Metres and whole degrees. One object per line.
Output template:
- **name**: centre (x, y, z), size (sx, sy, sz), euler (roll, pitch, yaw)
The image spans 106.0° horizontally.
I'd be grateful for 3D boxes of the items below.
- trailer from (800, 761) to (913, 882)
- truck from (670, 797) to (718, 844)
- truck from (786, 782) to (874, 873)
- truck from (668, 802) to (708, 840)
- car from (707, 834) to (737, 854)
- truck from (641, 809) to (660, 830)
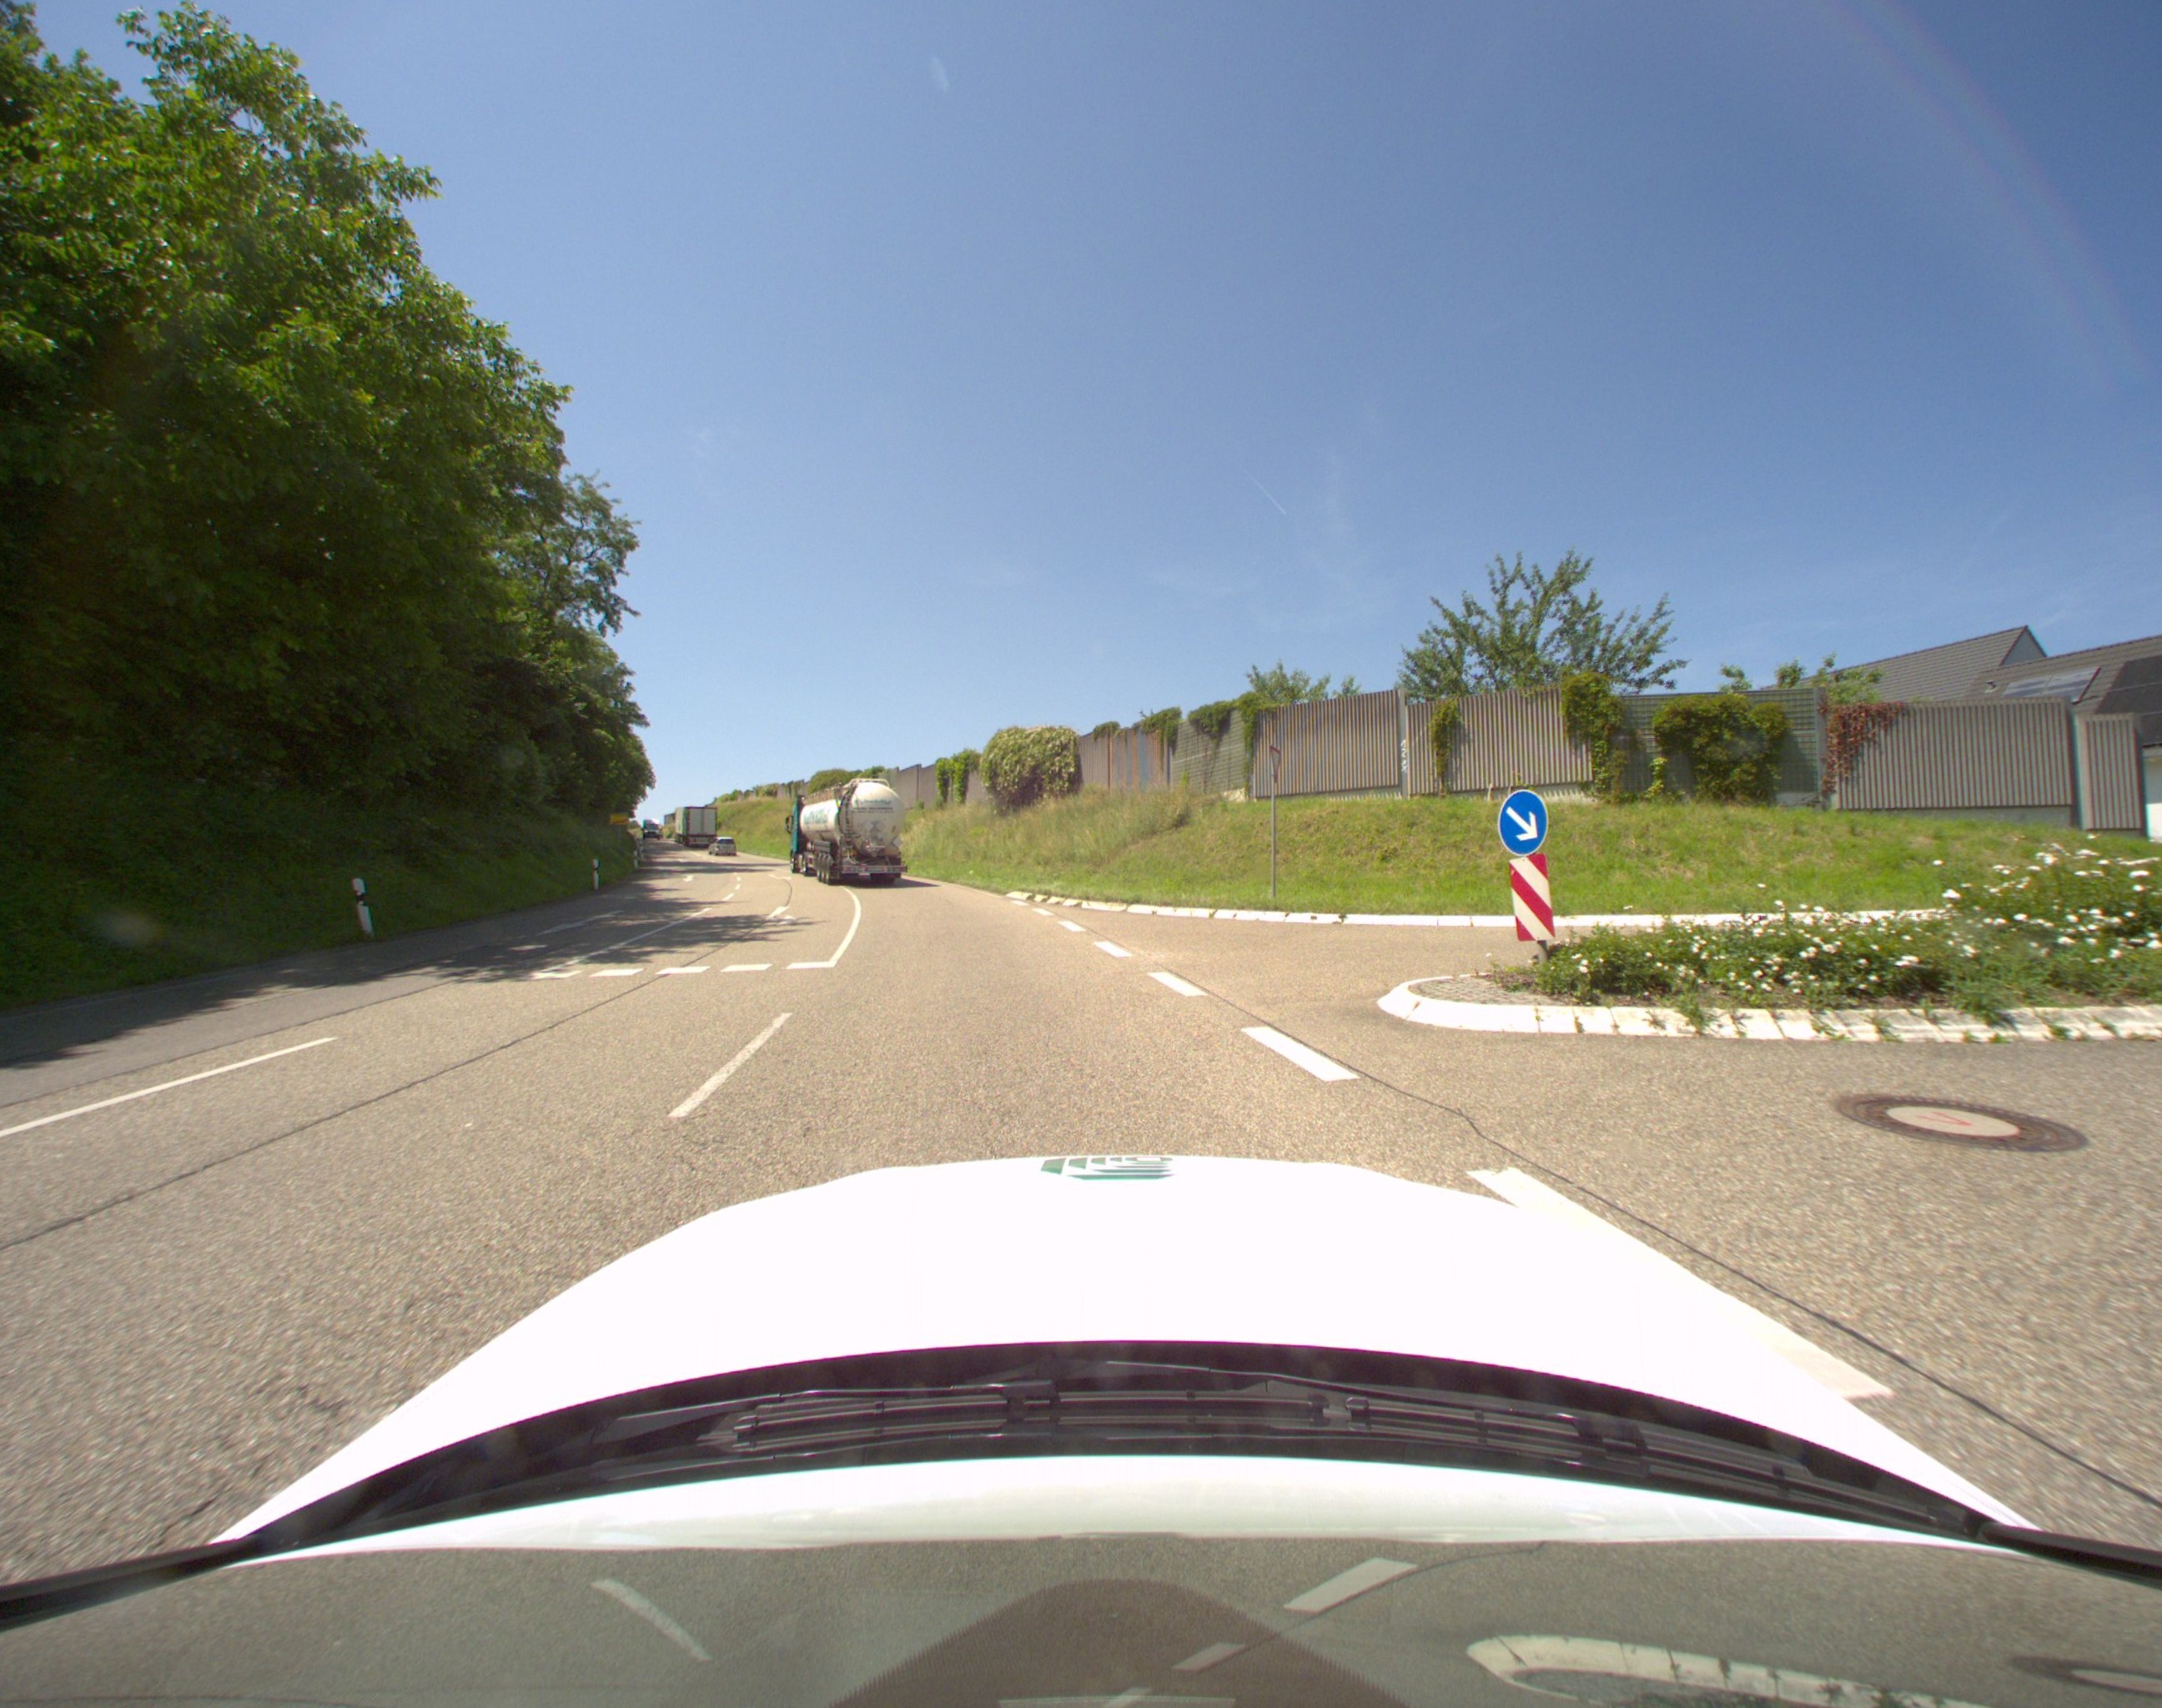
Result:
- **trailer**: centre (-9.739, -1.278, 34.067), size (2.674, 4.188, 11.809), euler (-2, 2, -24)
- **truck**: centre (-40.040, -3.511, 83.987), size (3.211, 4.309, 11.687), euler (3, 1, -31)
- **truck**: centre (-12.185, -1.262, 39.098), size (2.742, 3.929, 7.200), euler (-2, 2, -27)
- **truck**: centre (-43.013, -3.589, 89.026), size (3.211, 3.933, 8.172), euler (1, 1, -31)
- **car**: centre (-29.872, -0.861, 67.685), size (1.659, 1.509, 3.601), euler (3, 0, -34)
- **truck**: centre (-56.778, -4.549, 107.437), size (2.065, 2.686, 5.927), euler (2, 2, -29)
